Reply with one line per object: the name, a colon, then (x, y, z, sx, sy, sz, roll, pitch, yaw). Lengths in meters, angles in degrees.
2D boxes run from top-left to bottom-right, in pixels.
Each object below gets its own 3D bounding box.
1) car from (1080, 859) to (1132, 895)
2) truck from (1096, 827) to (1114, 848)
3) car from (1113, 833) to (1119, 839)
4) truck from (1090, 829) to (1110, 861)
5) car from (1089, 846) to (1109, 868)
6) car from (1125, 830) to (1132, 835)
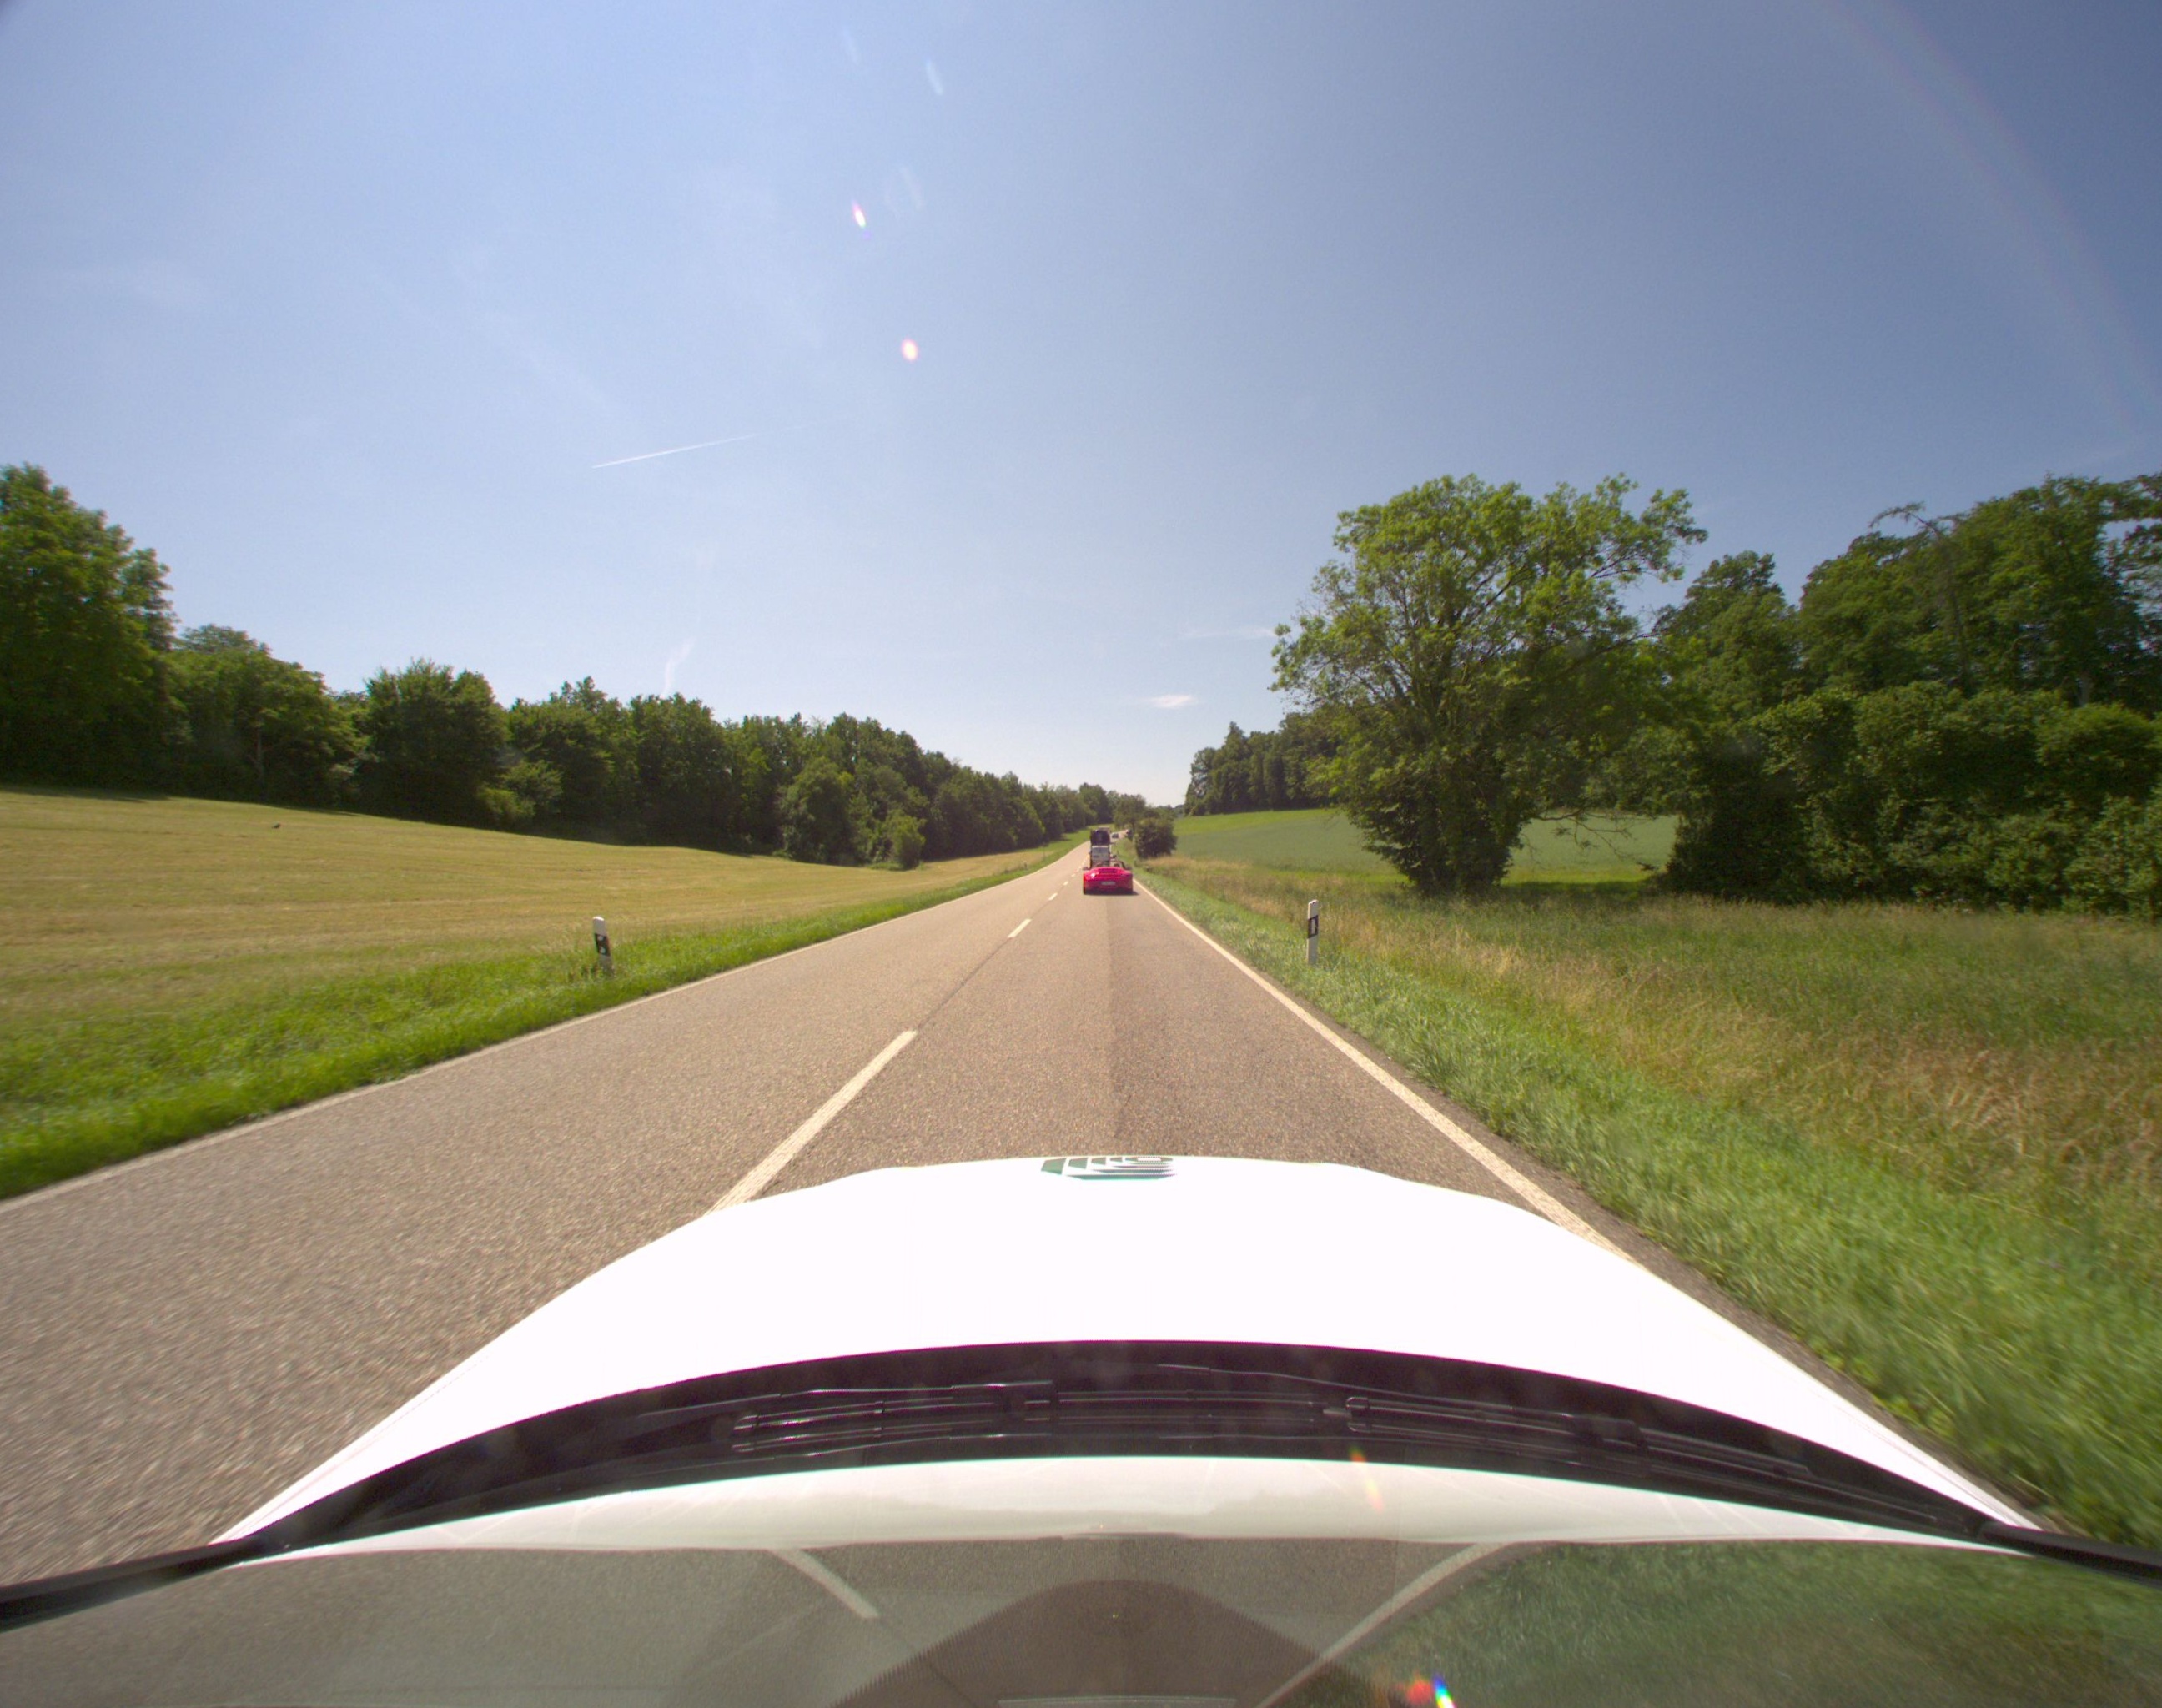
car: (0.944, 0.830, 31.294, 1.876, 1.255, 4.010, 0, 0, 1)
truck: (5.566, -4.015, 194.297, 3.713, 4.659, 12.032, -3, 2, 0)
car: (10.026, -5.112, 231.982, 1.691, 1.496, 3.714, -3, 2, 2)
truck: (2.513, -1.308, 112.272, 2.396, 4.049, 12.551, -2, 1, 1)
car: (1.739, 0.241, 75.679, 1.672, 1.900, 4.011, -4, 0, 2)
car: (15.091, -6.834, 258.793, 1.688, 1.496, 3.720, -4, 2, 8)
